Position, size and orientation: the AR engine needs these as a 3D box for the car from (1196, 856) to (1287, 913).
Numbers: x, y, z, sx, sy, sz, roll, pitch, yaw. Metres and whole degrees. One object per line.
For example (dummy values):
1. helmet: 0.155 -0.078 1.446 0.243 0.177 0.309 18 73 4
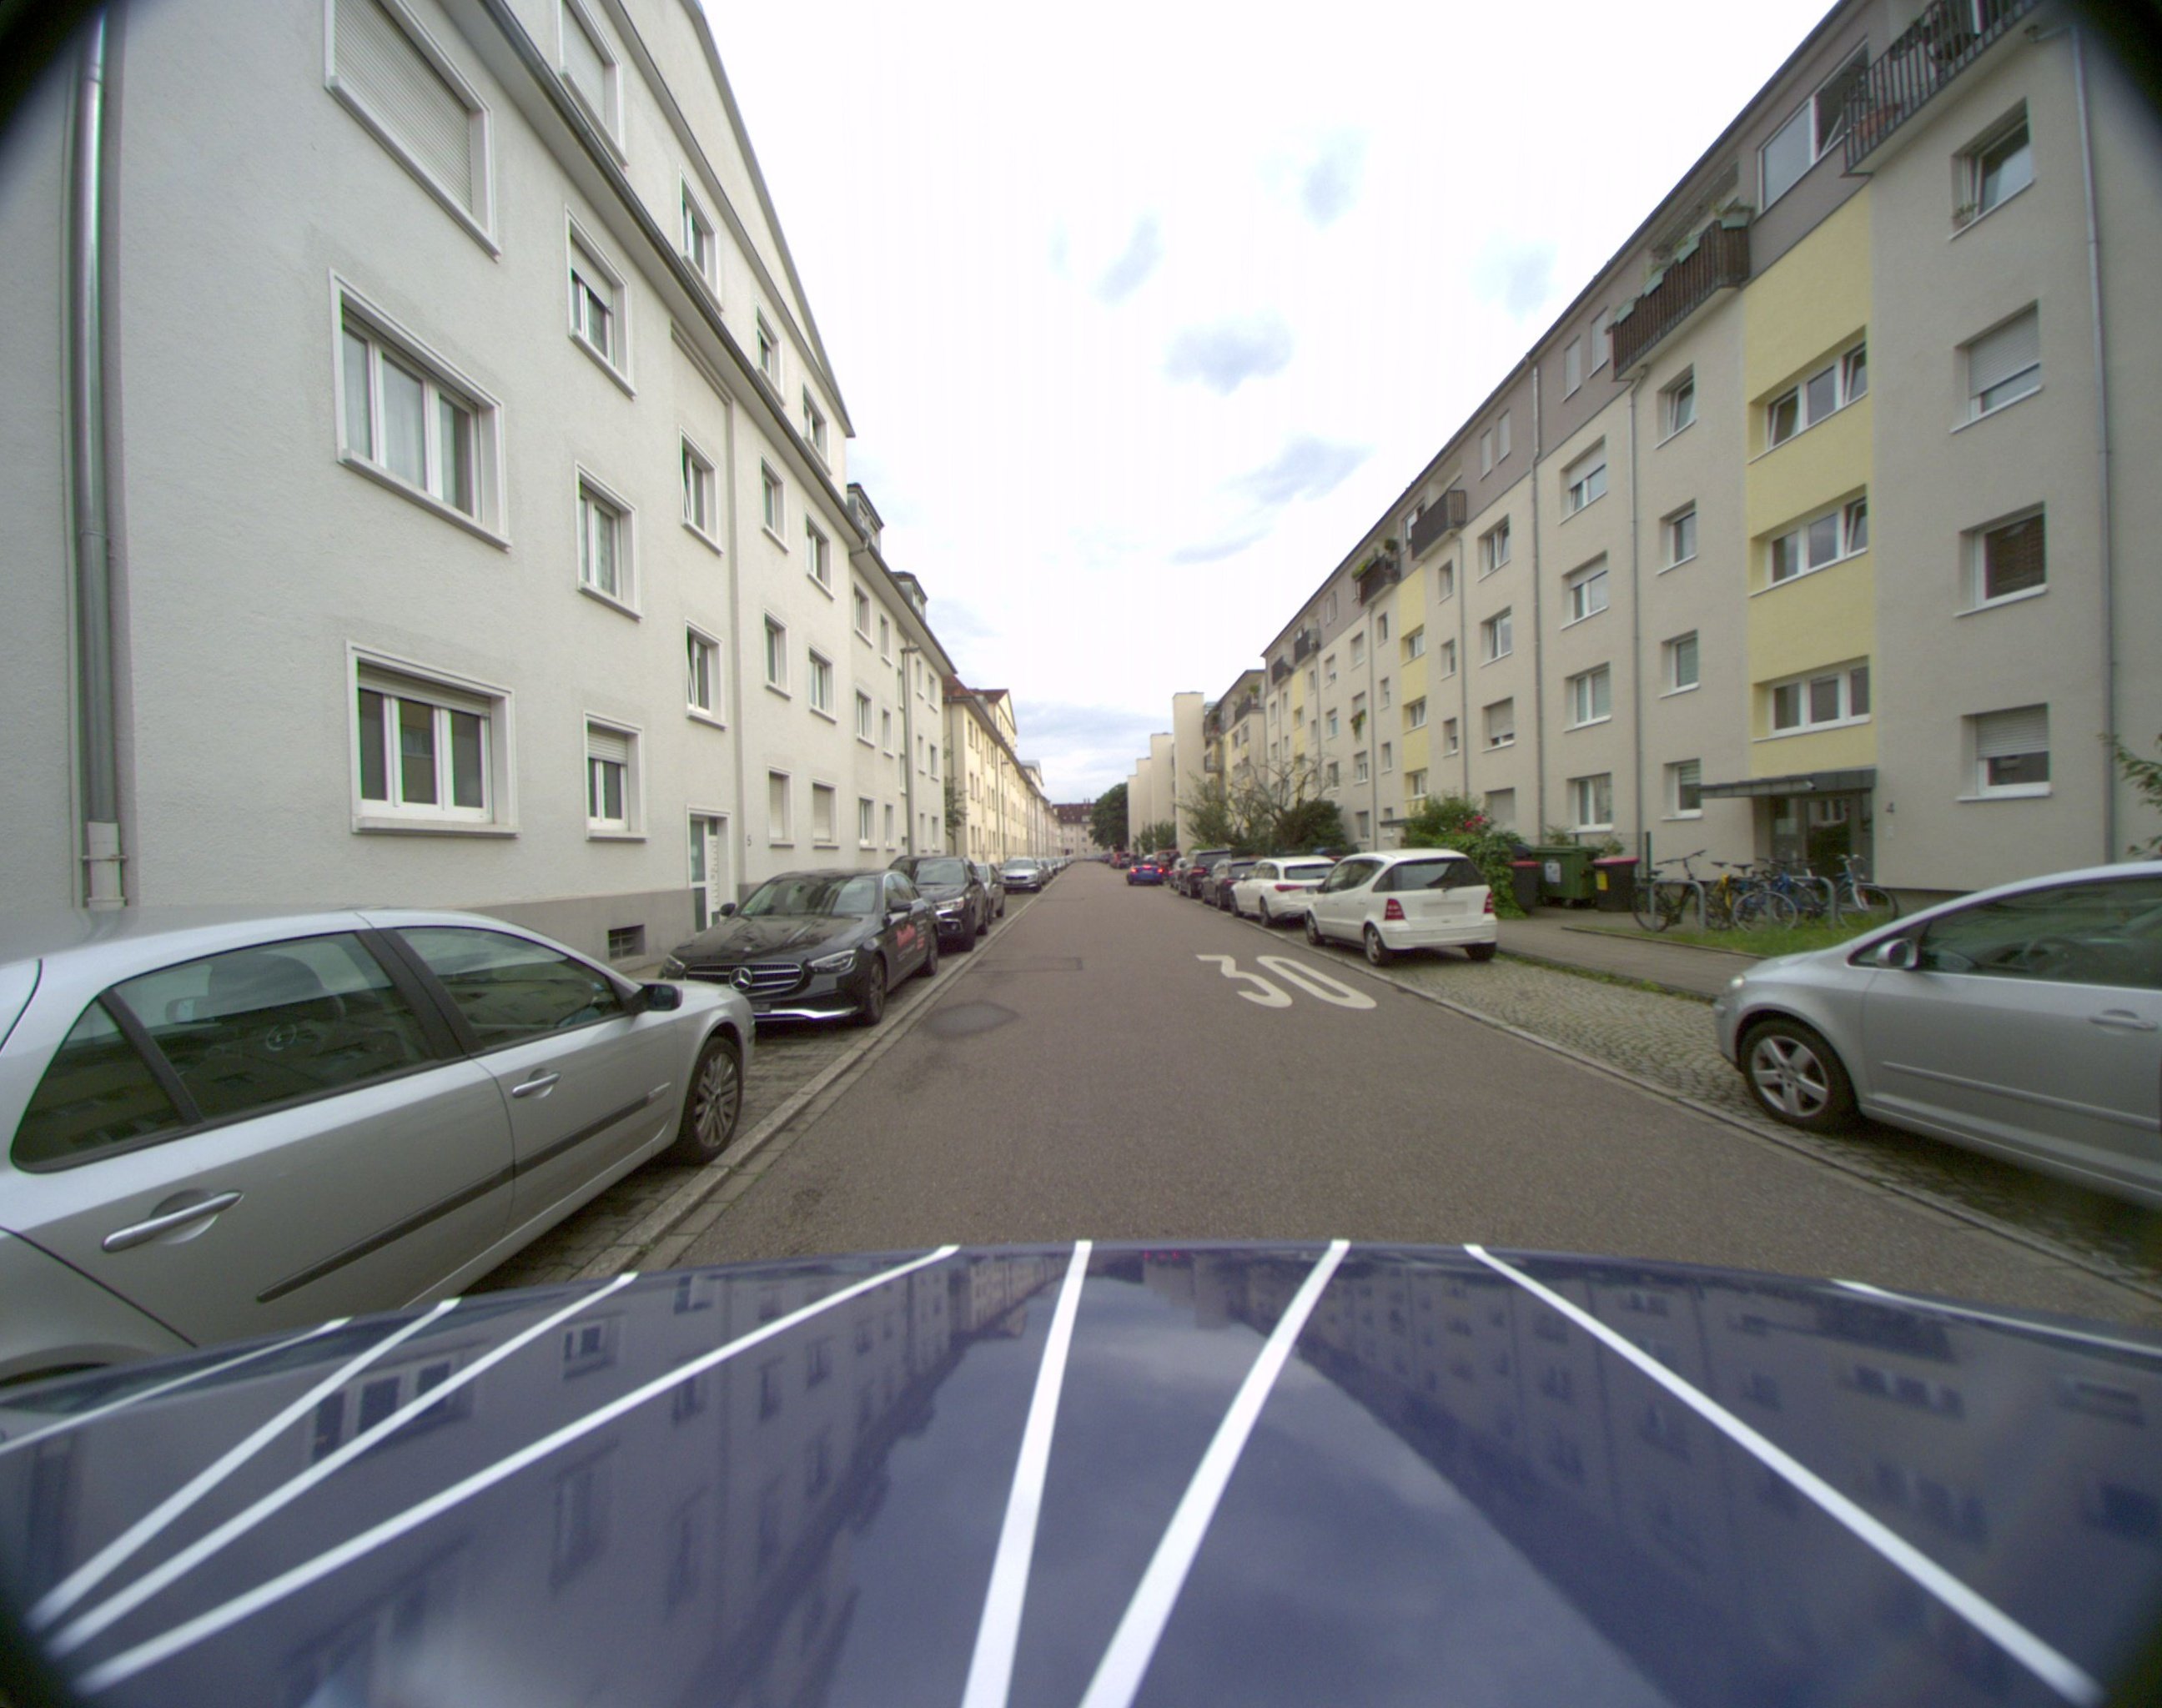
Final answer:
1. car: 4.629 0.823 22.544 1.729 1.445 4.482 -1 0 0

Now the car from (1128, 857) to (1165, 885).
1. car: 3.429 0.880 40.599 1.679 1.307 3.907 -1 1 1

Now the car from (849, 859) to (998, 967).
1. car: -2.615 0.906 13.627 1.853 1.589 4.159 -1 0 -1

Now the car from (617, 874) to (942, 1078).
1. car: -2.735 1.002 8.081 1.786 1.454 4.322 -1 0 -1

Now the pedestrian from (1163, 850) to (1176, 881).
1. pedestrian: 4.781 0.633 41.059 0.603 1.657 0.622 -2 0 -2

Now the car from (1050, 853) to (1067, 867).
1. car: -2.348 0.624 81.511 1.737 1.443 4.217 -1 0 -1

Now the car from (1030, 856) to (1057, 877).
1. car: -2.662 0.884 54.624 1.737 1.402 4.217 -1 0 -1

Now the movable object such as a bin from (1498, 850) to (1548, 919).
1. movable object such as a bin: 9.050 0.606 15.583 0.659 1.360 0.587 -2 2 -4

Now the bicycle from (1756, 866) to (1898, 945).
1. bicycle: 10.561 0.690 10.827 0.421 1.018 1.559 -2 0 -3

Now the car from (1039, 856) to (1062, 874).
1. car: -2.484 0.887 62.333 1.737 1.363 4.217 -1 0 -1

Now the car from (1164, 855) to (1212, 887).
1. car: 4.942 0.775 35.384 1.575 1.389 3.542 -1 0 -2

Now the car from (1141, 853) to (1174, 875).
1. car: 5.202 0.657 52.125 1.707 1.436 3.541 -1 0 -2

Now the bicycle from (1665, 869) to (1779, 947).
1. bicycle: 9.178 0.742 10.940 0.357 1.018 1.497 -2 0 0

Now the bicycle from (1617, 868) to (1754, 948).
1. bicycle: 8.699 0.737 11.045 0.489 1.018 1.878 -2 0 0

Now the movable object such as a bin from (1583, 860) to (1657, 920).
1. movable object such as a bin: 10.643 0.687 15.026 0.871 1.103 0.787 -2 2 -4

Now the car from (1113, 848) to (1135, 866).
1. car: 5.152 0.400 92.329 2.188 2.019 4.422 -1 0 -2

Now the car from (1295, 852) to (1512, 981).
1. car: 4.705 0.808 11.702 1.689 1.629 3.727 -1 0 -1

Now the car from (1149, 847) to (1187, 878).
1. car: 5.207 0.506 45.936 1.707 1.795 3.541 -1 0 -2

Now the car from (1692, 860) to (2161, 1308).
1. car: 4.723 0.844 2.853 1.658 1.541 3.915 -3 0 0

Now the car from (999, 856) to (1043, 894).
1. car: -2.654 0.914 34.467 1.737 1.538 3.677 -1 0 -1

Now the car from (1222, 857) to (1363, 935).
1. car: 4.626 0.849 17.362 1.723 1.501 4.687 -1 0 -2

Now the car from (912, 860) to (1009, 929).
1. car: -2.837 0.918 18.687 1.737 1.478 3.756 -1 0 0

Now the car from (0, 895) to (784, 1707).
1. car: -2.706 0.992 2.541 1.737 1.454 4.430 -1 0 -1

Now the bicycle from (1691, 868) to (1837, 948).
1. bicycle: 9.675 0.723 10.855 0.479 1.018 1.754 -2 0 0

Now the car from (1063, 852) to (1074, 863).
1. car: -1.986 0.501 120.331 1.737 1.670 3.591 -1 0 -1

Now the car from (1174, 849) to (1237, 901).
1. car: 4.591 0.755 28.574 1.575 1.769 4.452 -1 0 -1

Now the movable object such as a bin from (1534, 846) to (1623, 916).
1. movable object such as a bin: 10.506 0.540 16.092 1.059 1.367 1.188 -2 2 -5

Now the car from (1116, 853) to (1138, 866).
1. car: 5.185 0.640 86.094 2.013 1.436 4.197 -1 0 -2

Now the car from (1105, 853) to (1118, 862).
1. car: 5.272 0.653 131.551 1.745 1.534 3.636 -2 0 -6

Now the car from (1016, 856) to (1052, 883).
1. car: -2.639 0.837 43.381 1.737 1.418 4.217 -1 0 0

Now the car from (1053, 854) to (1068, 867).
1. car: -2.455 0.793 91.300 1.737 1.443 4.217 -1 0 -1
